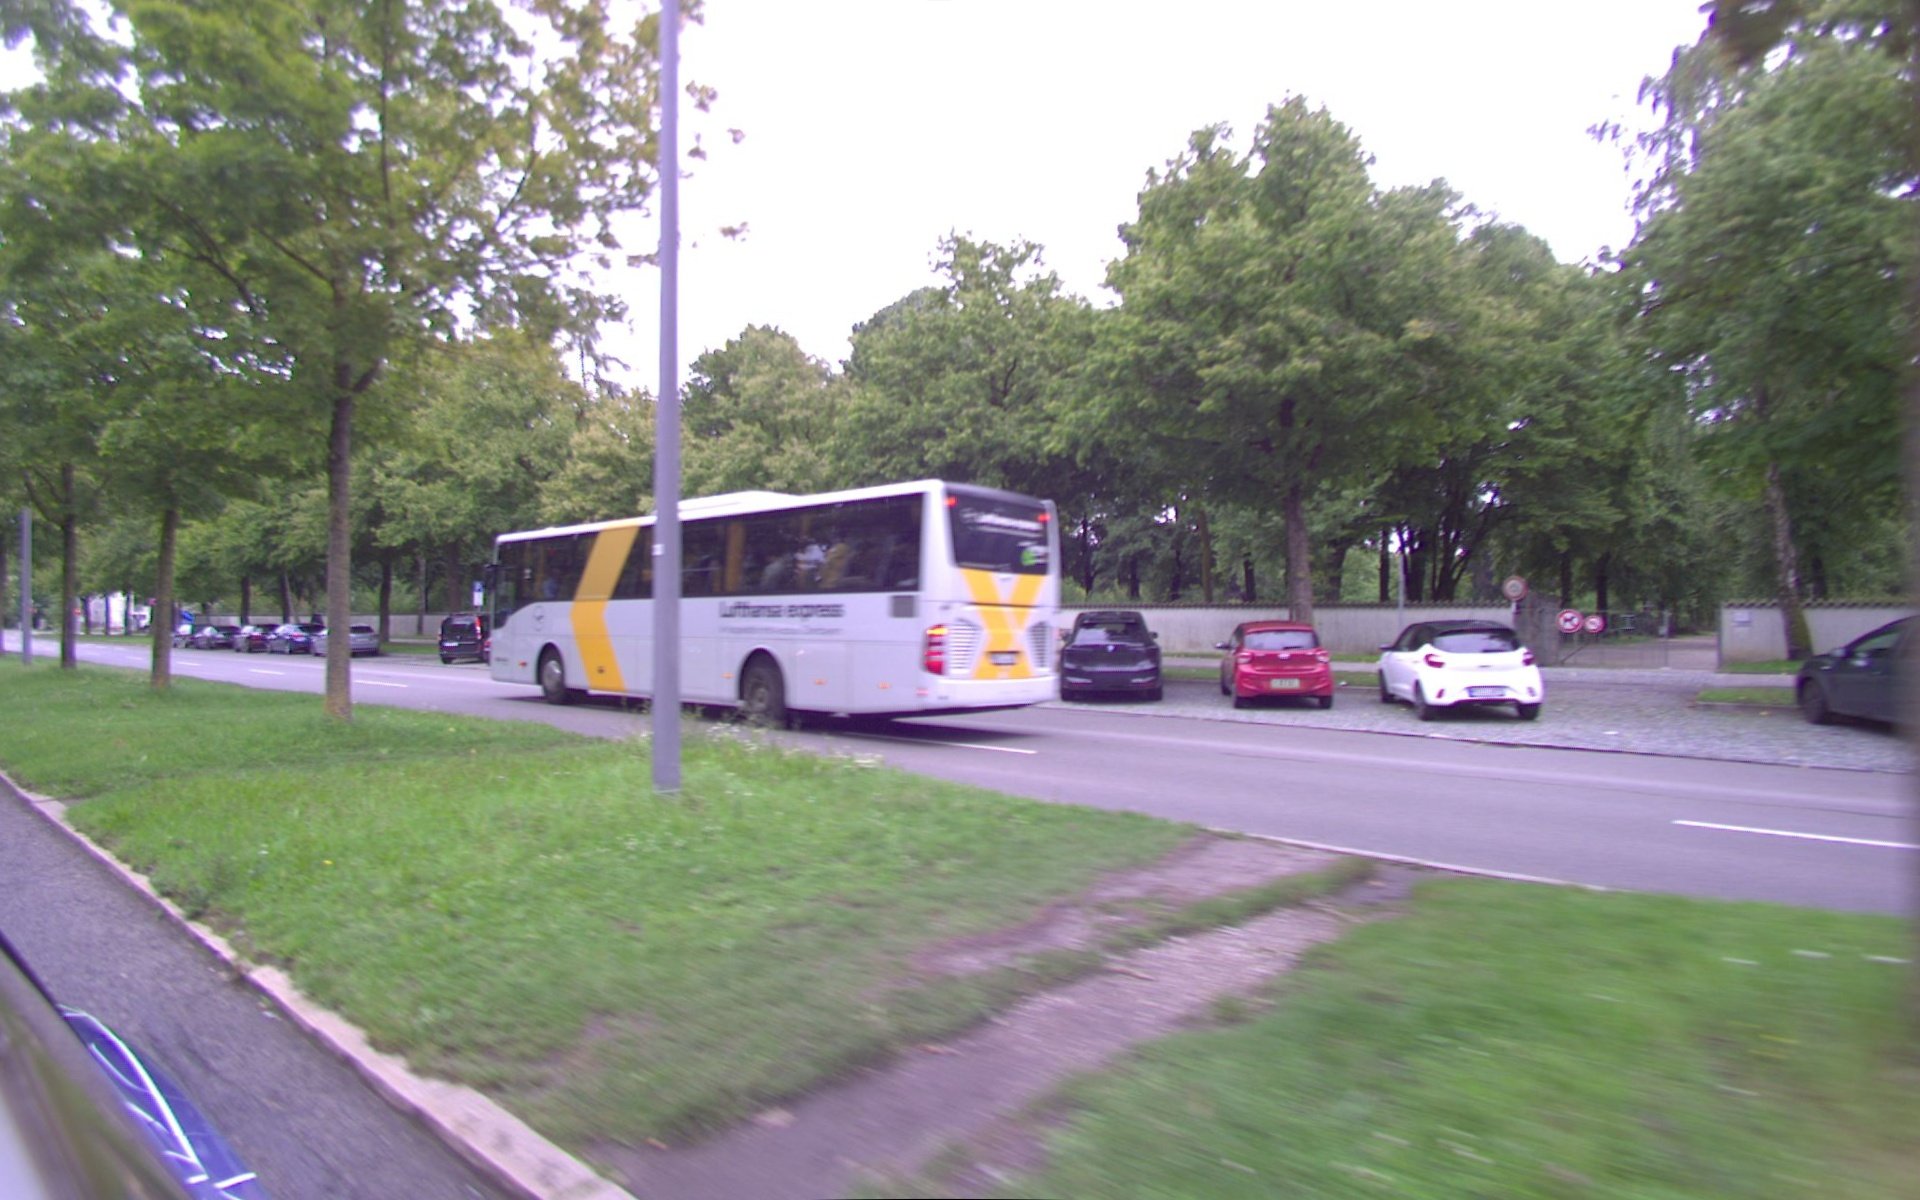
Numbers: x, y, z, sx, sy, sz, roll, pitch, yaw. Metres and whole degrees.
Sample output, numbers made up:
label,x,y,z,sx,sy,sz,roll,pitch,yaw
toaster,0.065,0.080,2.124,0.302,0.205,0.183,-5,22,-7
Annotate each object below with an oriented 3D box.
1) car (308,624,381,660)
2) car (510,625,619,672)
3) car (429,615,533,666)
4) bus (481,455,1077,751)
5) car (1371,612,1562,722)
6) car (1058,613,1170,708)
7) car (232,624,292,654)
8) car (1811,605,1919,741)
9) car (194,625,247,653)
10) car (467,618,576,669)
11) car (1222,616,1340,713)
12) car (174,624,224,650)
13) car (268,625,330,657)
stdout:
label,x,y,z,sx,sy,sz,roll,pitch,yaw
car,-27.304,1.828,44.841,1.864,1.454,4.171,-1,0,-45
car,-13.195,1.580,33.989,1.574,1.376,3.987,-1,0,10
car,-18.094,1.495,38.446,1.760,1.741,3.992,-1,0,6
bus,-3.775,0.129,16.335,11.922,3.323,2.641,-1,-3,42
car,8.204,1.021,16.796,1.873,1.474,3.983,-2,0,13
car,3.172,1.130,20.192,1.873,1.569,3.983,-2,0,13
car,-36.293,1.989,52.605,1.864,1.454,4.171,-1,0,-45
car,12.746,0.913,12.421,1.783,1.599,3.985,-2,0,12
car,-42.517,2.198,58.132,1.864,1.454,4.171,-1,0,-45
car,-15.723,1.508,36.488,1.868,1.654,3.992,-1,0,6
car,5.850,1.124,18.861,1.723,1.466,3.983,-2,0,13
car,-46.666,2.251,62.027,1.864,1.454,4.171,-1,0,-45
car,-31.941,1.954,48.873,1.718,1.381,4.171,-1,0,-45
